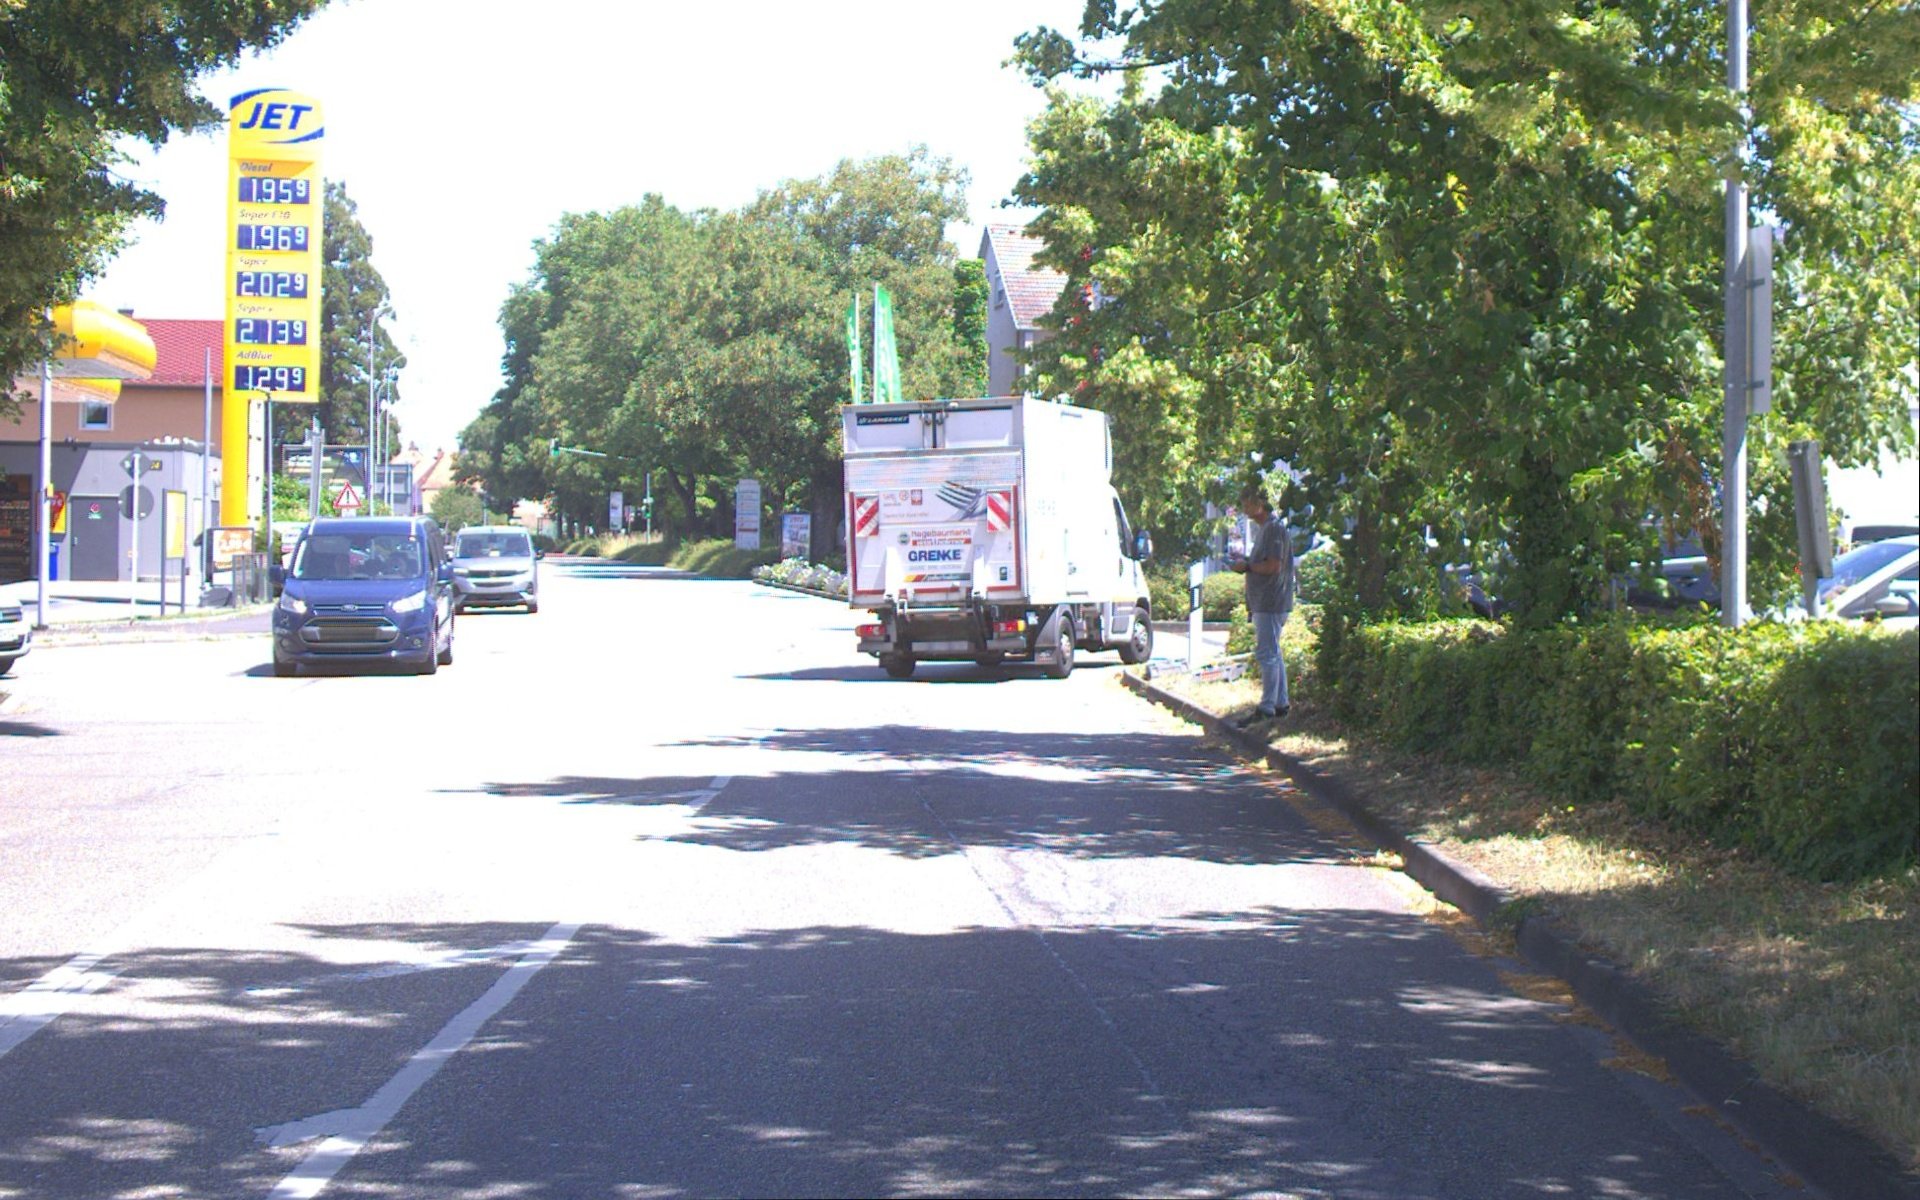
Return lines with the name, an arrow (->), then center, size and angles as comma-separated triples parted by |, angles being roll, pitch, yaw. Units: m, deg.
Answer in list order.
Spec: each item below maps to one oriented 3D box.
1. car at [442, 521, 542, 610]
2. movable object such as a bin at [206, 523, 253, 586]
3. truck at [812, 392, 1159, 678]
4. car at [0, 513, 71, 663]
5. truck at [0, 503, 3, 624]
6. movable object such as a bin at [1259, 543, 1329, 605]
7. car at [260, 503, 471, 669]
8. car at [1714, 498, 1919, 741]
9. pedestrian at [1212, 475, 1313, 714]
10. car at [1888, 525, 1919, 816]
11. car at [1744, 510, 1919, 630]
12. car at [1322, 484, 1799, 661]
car -> -9.630, -0.735, 71.001 | 1.795, 1.766, 4.365 | 0, 1, -4
movable object such as a bin -> -18.875, -1.174, 88.849 | 0.952, 1.512, 1.428 | 5, 1, -7
truck -> 0.408, -0.755, 38.508 | 2.416, 2.938, 5.949 | 1, 2, 15
car -> -12.431, -0.172, 39.245 | 4.241, 1.667, 1.972 | 1, 2, 29
truck -> -21.704, -0.760, 70.570 | 2.233, 2.589, 6.732 | 1, 1, 0
movable object such as a bin -> 8.011, -0.629, 82.542 | 1.563, 1.418, 0.702 | -2, 1, -1
car -> -6.793, -0.202, 39.731 | 1.823, 1.775, 4.783 | -1, 1, -3
car -> 6.792, 0.106, 22.232 | 3.397, 1.501, 1.582 | 0, 2, -7
pedestrian -> 2.300, -0.048, 26.105 | 0.729, 1.783, 0.620 | 1, 0, 5
car -> 7.067, 0.388, 17.170 | 4.309, 1.476, 1.810 | 1, 1, -6
car -> 14.479, -0.492, 56.585 | 1.705, 1.884, 4.258 | 1, 1, -7
car -> 6.046, -0.290, 35.003 | 4.514, 1.662, 1.894 | 1, 1, 1
